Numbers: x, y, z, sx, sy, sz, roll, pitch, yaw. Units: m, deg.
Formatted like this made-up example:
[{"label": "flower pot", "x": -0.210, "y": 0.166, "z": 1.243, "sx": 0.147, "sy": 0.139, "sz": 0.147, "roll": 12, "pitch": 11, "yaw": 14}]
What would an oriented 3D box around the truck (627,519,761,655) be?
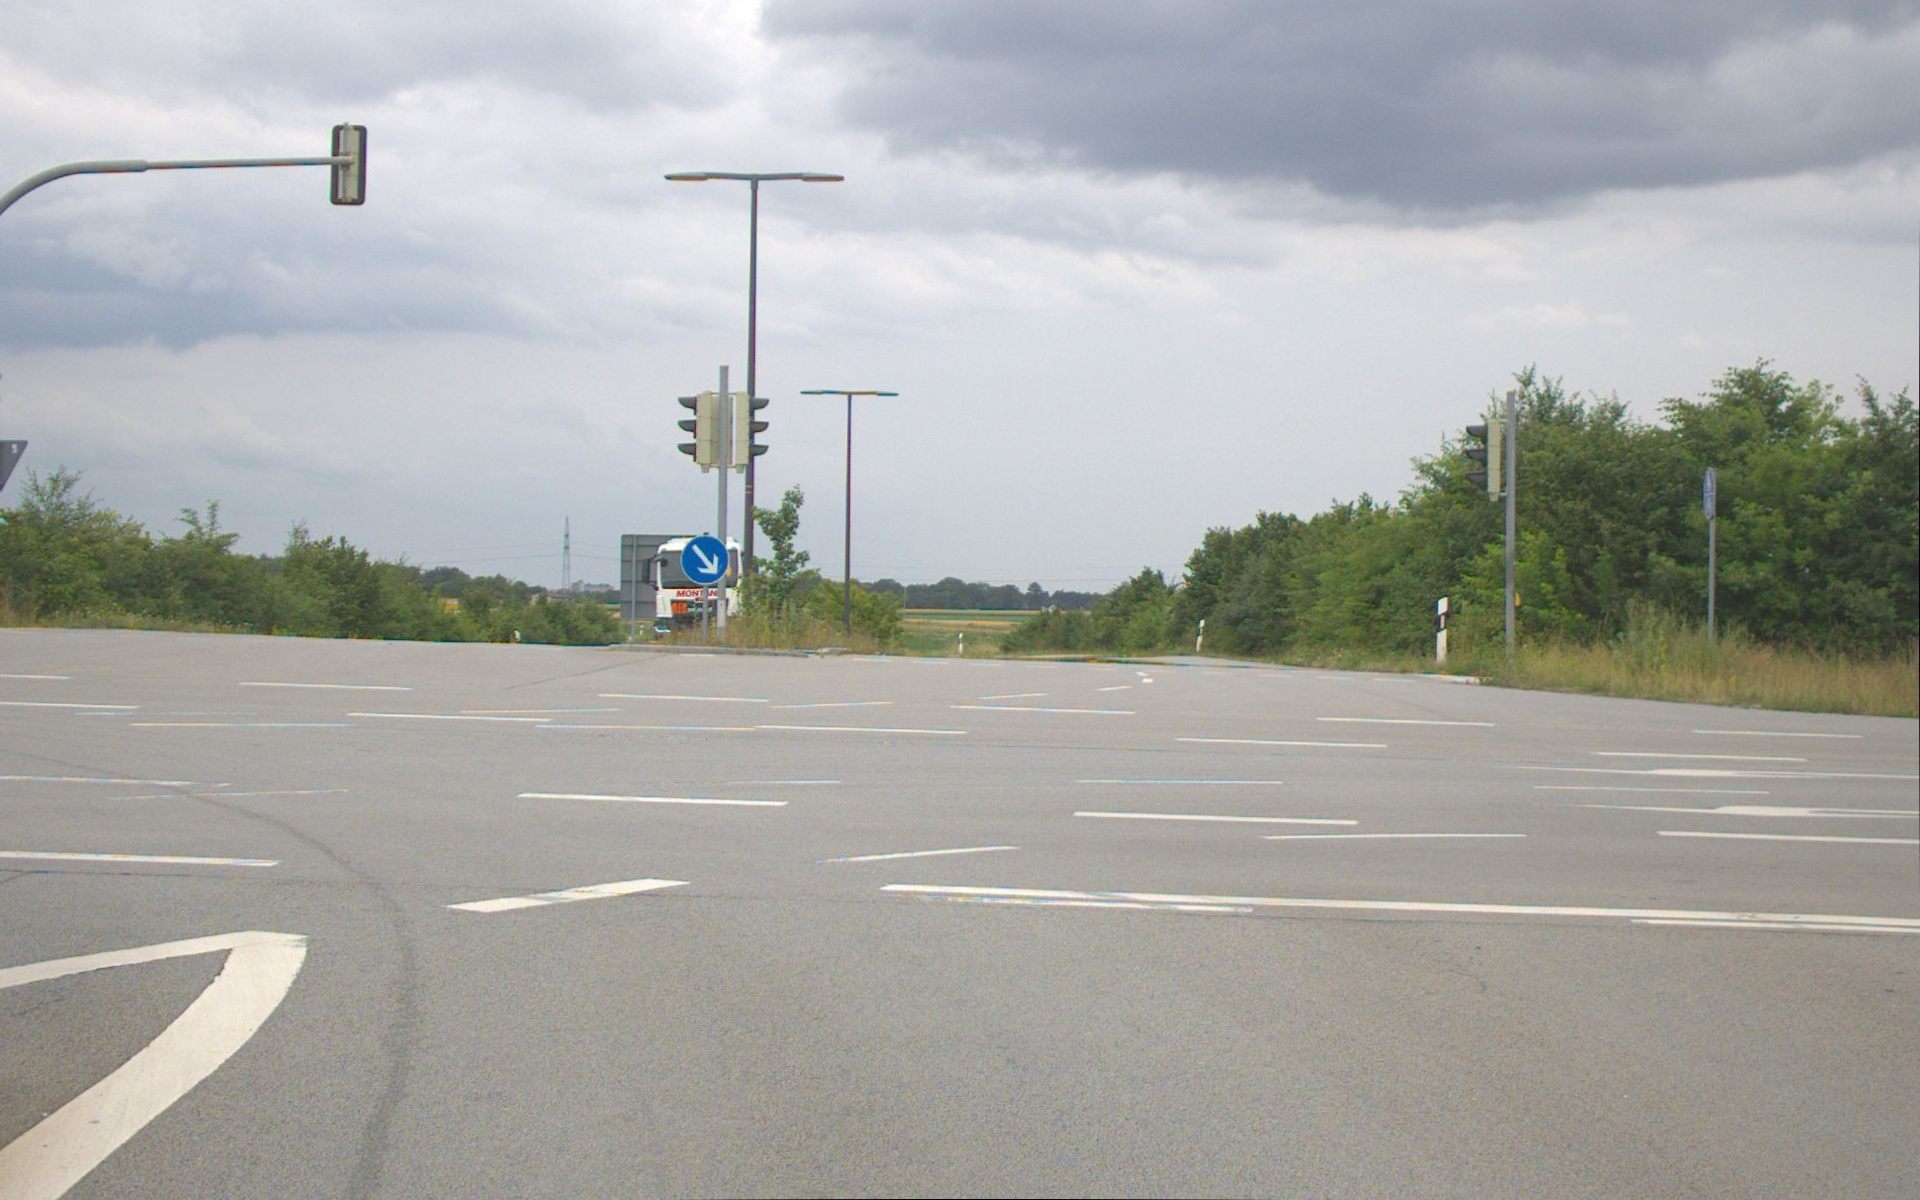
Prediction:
[{"label": "truck", "x": -6.959, "y": -0.288, "z": 91.001, "sx": 2.869, "sy": 3.396, "sz": 8.650, "roll": 1, "pitch": -1, "yaw": 0}]
